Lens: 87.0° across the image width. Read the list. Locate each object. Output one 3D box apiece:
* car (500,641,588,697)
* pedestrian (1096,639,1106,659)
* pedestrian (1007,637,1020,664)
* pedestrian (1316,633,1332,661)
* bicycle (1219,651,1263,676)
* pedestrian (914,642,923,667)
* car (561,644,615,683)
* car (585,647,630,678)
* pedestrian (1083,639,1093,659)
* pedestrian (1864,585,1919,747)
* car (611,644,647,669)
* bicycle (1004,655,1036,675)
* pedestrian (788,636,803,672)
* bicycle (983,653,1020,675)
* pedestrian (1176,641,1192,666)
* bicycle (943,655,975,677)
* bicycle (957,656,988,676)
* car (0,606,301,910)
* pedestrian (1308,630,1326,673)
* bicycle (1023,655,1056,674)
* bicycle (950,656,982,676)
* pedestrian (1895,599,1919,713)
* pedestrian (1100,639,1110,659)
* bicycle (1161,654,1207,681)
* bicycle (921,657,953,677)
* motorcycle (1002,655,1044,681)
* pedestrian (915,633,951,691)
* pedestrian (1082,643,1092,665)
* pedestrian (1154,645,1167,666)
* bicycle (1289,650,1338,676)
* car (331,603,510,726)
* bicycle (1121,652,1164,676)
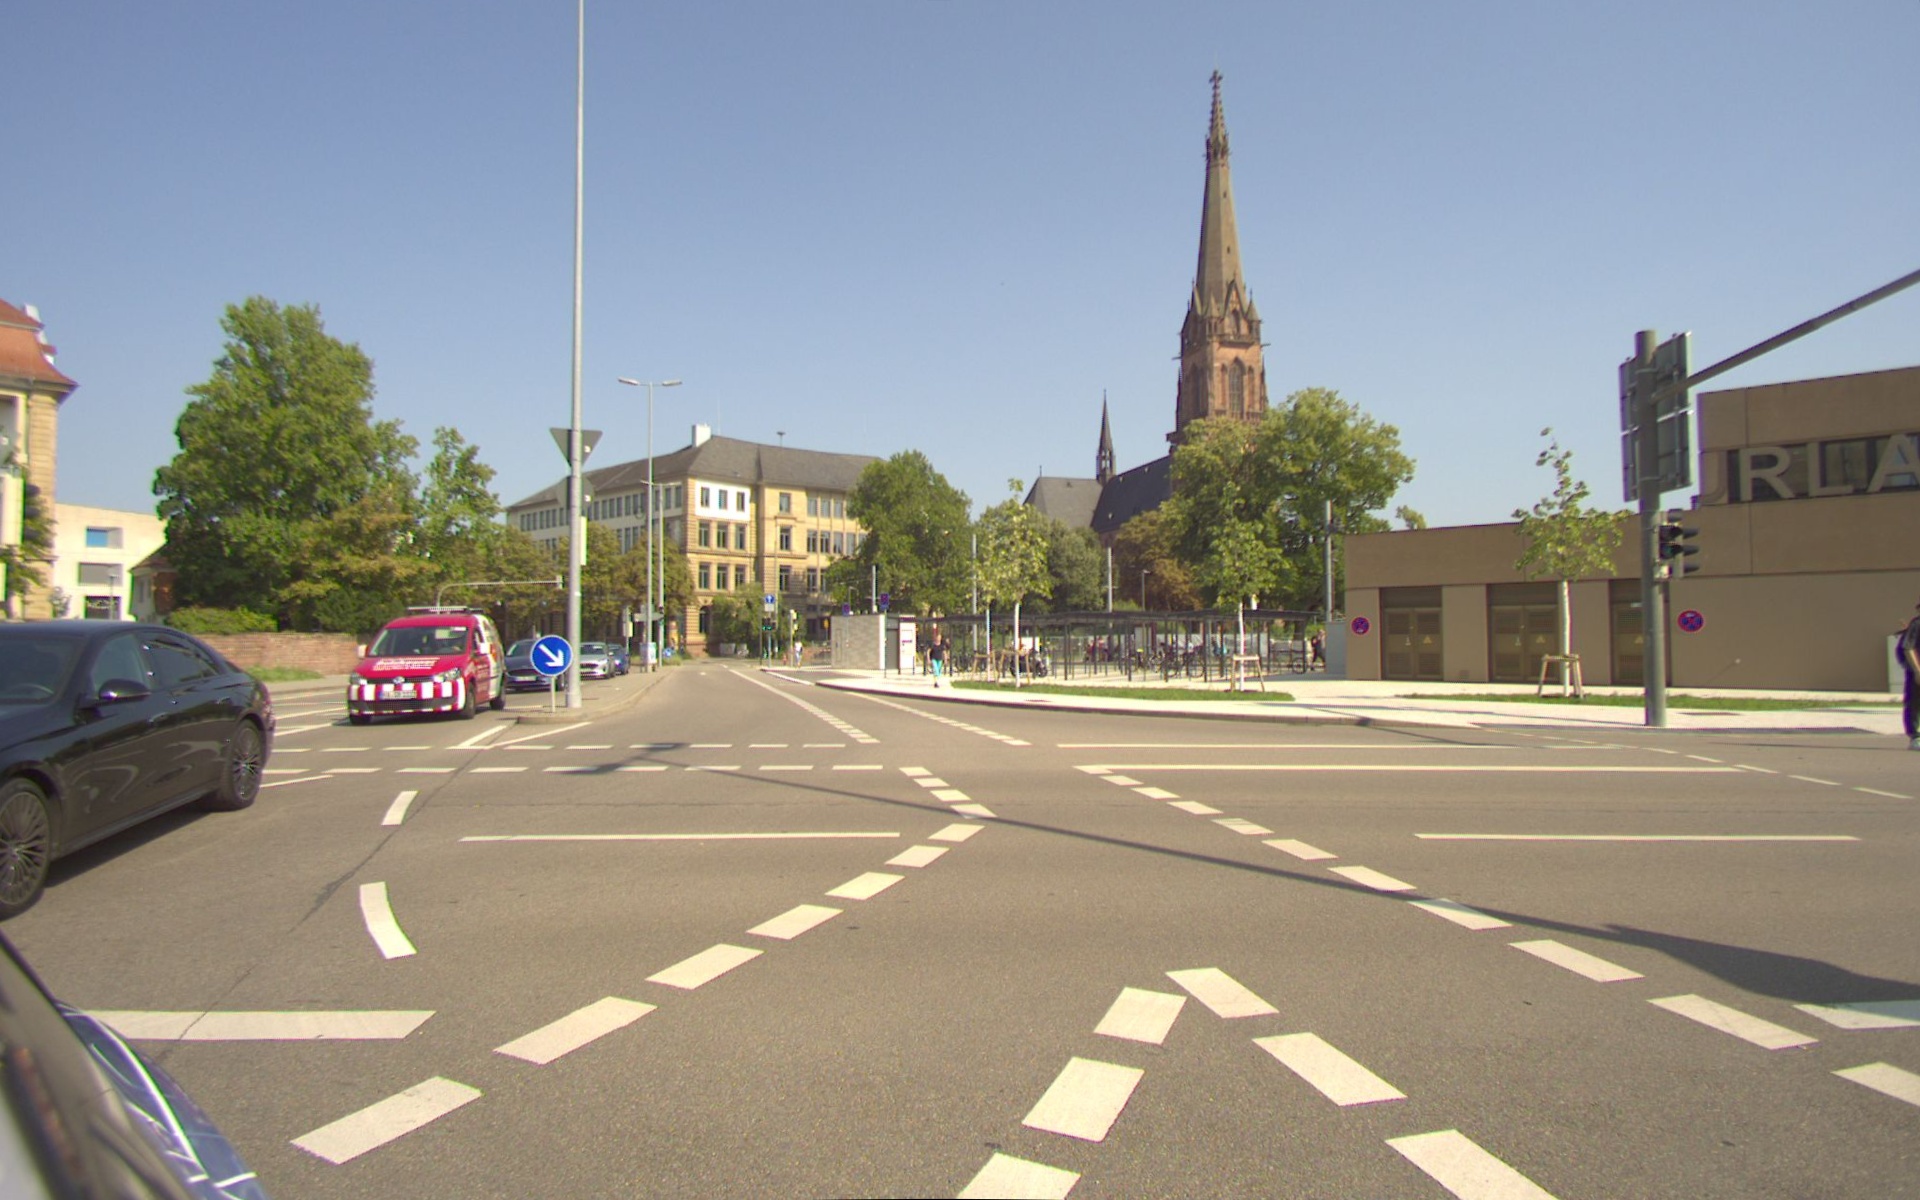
[{"bbox_3d":[-11.588,1.878,28.426,1.613,1.438,4.332,0,-3,-13],"label":"car"},{"bbox_3d":[8.821,3.077,63.378,0.383,1.233,0.433,-5,-3,42],"label":"pedestrian"},{"bbox_3d":[3.475,3.272,65.426,0.705,1.762,0.390,0,-3,-16],"label":"pedestrian"},{"bbox_3d":[19.001,2.464,52.801,0.569,1.433,0.463,-5,-3,43],"label":"pedestrian"},{"bbox_3d":[11.762,2.645,42.410,1.745,1.017,0.396,-3,-4,42],"label":"bicycle"},{"bbox_3d":[-2.854,3.773,69.955,0.513,1.720,0.502,0,-2,10],"label":"pedestrian"},{"bbox_3d":[-14.497,2.446,39.608,1.692,1.444,3.871,0,-3,-16],"label":"car"},{"bbox_3d":[-16.479,2.899,47.476,1.581,1.339,4.344,0,-3,-14],"label":"car"},{"bbox_3d":[8.031,3.078,63.334,0.383,1.233,0.433,-5,-3,42],"label":"pedestrian"},{"bbox_3d":[11.334,0.754,11.688,0.720,1.854,1.082,0,-3,1],"label":"pedestrian"},{"bbox_3d":[-21.601,3.669,66.108,1.966,1.564,4.011,0,-2,-14],"label":"car"},{"bbox_3d":[2.747,2.985,46.371,1.588,0.899,0.404,-3,-4,42],"label":"bicycle"},{"bbox_3d":[-9.308,3.084,57.403,0.723,2.029,0.714,0,-3,0],"label":"pedestrian"},{"bbox_3d":[1.882,2.899,45.849,1.713,0.994,0.526,-3,-4,42],"label":"bicycle"},{"bbox_3d":[12.721,3.022,57.505,0.643,1.405,0.653,-3,-4,39],"label":"pedestrian"},{"bbox_3d":[-0.068,2.971,45.969,1.588,0.975,0.416,-3,-4,42],"label":"bicycle"},{"bbox_3d":[0.586,3.043,46.995,1.588,0.899,0.404,-3,-4,42],"label":"bicycle"},{"bbox_3d":[-5.920,0.815,6.201,1.795,1.451,4.888,0,-2,-16],"label":"car"},{"bbox_3d":[14.993,2.165,42.486,0.592,1.815,0.329,-2,-4,37],"label":"pedestrian"},{"bbox_3d":[3.720,3.018,47.467,1.588,0.899,0.404,-3,-4,42],"label":"bicycle"},{"bbox_3d":[0.276,3.025,46.587,1.588,0.899,0.396,-3,-4,42],"label":"bicycle"},{"bbox_3d":[15.849,0.910,16.475,0.564,1.847,0.692,-1,-3,10],"label":"pedestrian"},{"bbox_3d":[9.023,3.054,62.909,0.383,1.233,0.433,-5,-3,42],"label":"pedestrian"},{"bbox_3d":[8.552,2.553,38.625,1.745,1.017,0.396,-3,-4,42],"label":"bicycle"},{"bbox_3d":[-1.032,2.990,45.293,1.588,0.899,0.396,-3,-4,42],"label":"bicycle"},{"bbox_3d":[2.506,2.720,40.536,1.745,1.017,0.535,-3,-4,42],"label":"motorcycle"},{"bbox_3d":[-0.740,1.719,28.067,0.741,1.577,0.669,3,-4,-32],"label":"pedestrian"},{"bbox_3d":[7.846,3.359,62.644,0.388,1.328,0.415,0,-3,-44],"label":"pedestrian"},{"bbox_3d":[11.647,3.243,58.674,0.574,1.206,0.461,-3,-4,42],"label":"pedestrian"},{"bbox_3d":[14.048,2.506,40.250,1.743,1.028,0.467,-3,-4,40],"label":"bicycle"},{"bbox_3d":[-8.998,1.097,17.274,1.708,1.833,4.289,0,-4,-14],"label":"car"},{"bbox_3d":[7.937,2.784,43.957,1.874,1.017,0.455,-3,-4,42],"label":"bicycle"}]
